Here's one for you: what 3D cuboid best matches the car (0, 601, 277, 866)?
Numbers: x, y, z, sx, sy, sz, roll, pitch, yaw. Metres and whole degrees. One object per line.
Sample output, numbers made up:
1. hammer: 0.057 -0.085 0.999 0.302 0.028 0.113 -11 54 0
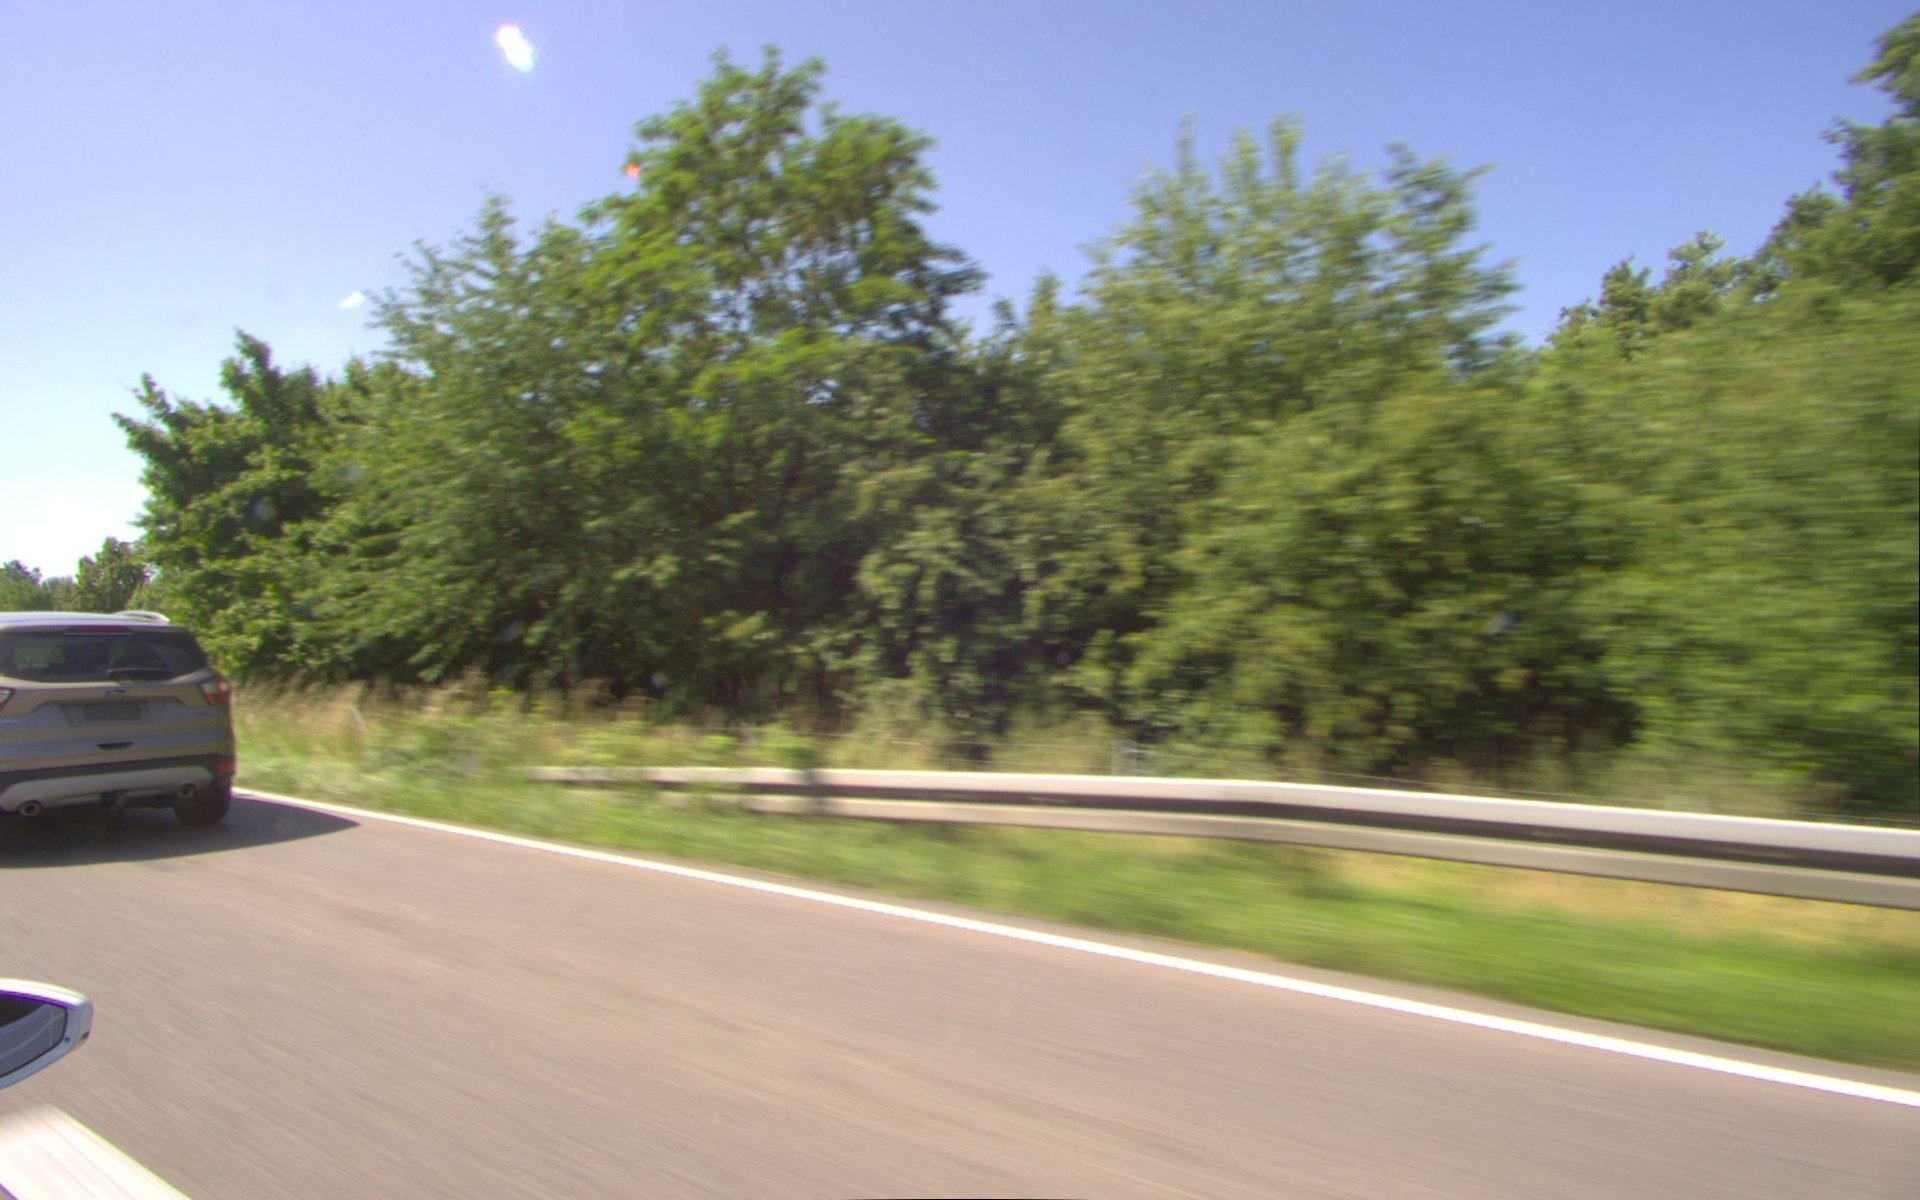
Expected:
1. car: -7.666 0.893 8.207 4.602 1.687 1.889 -1 -1 35
